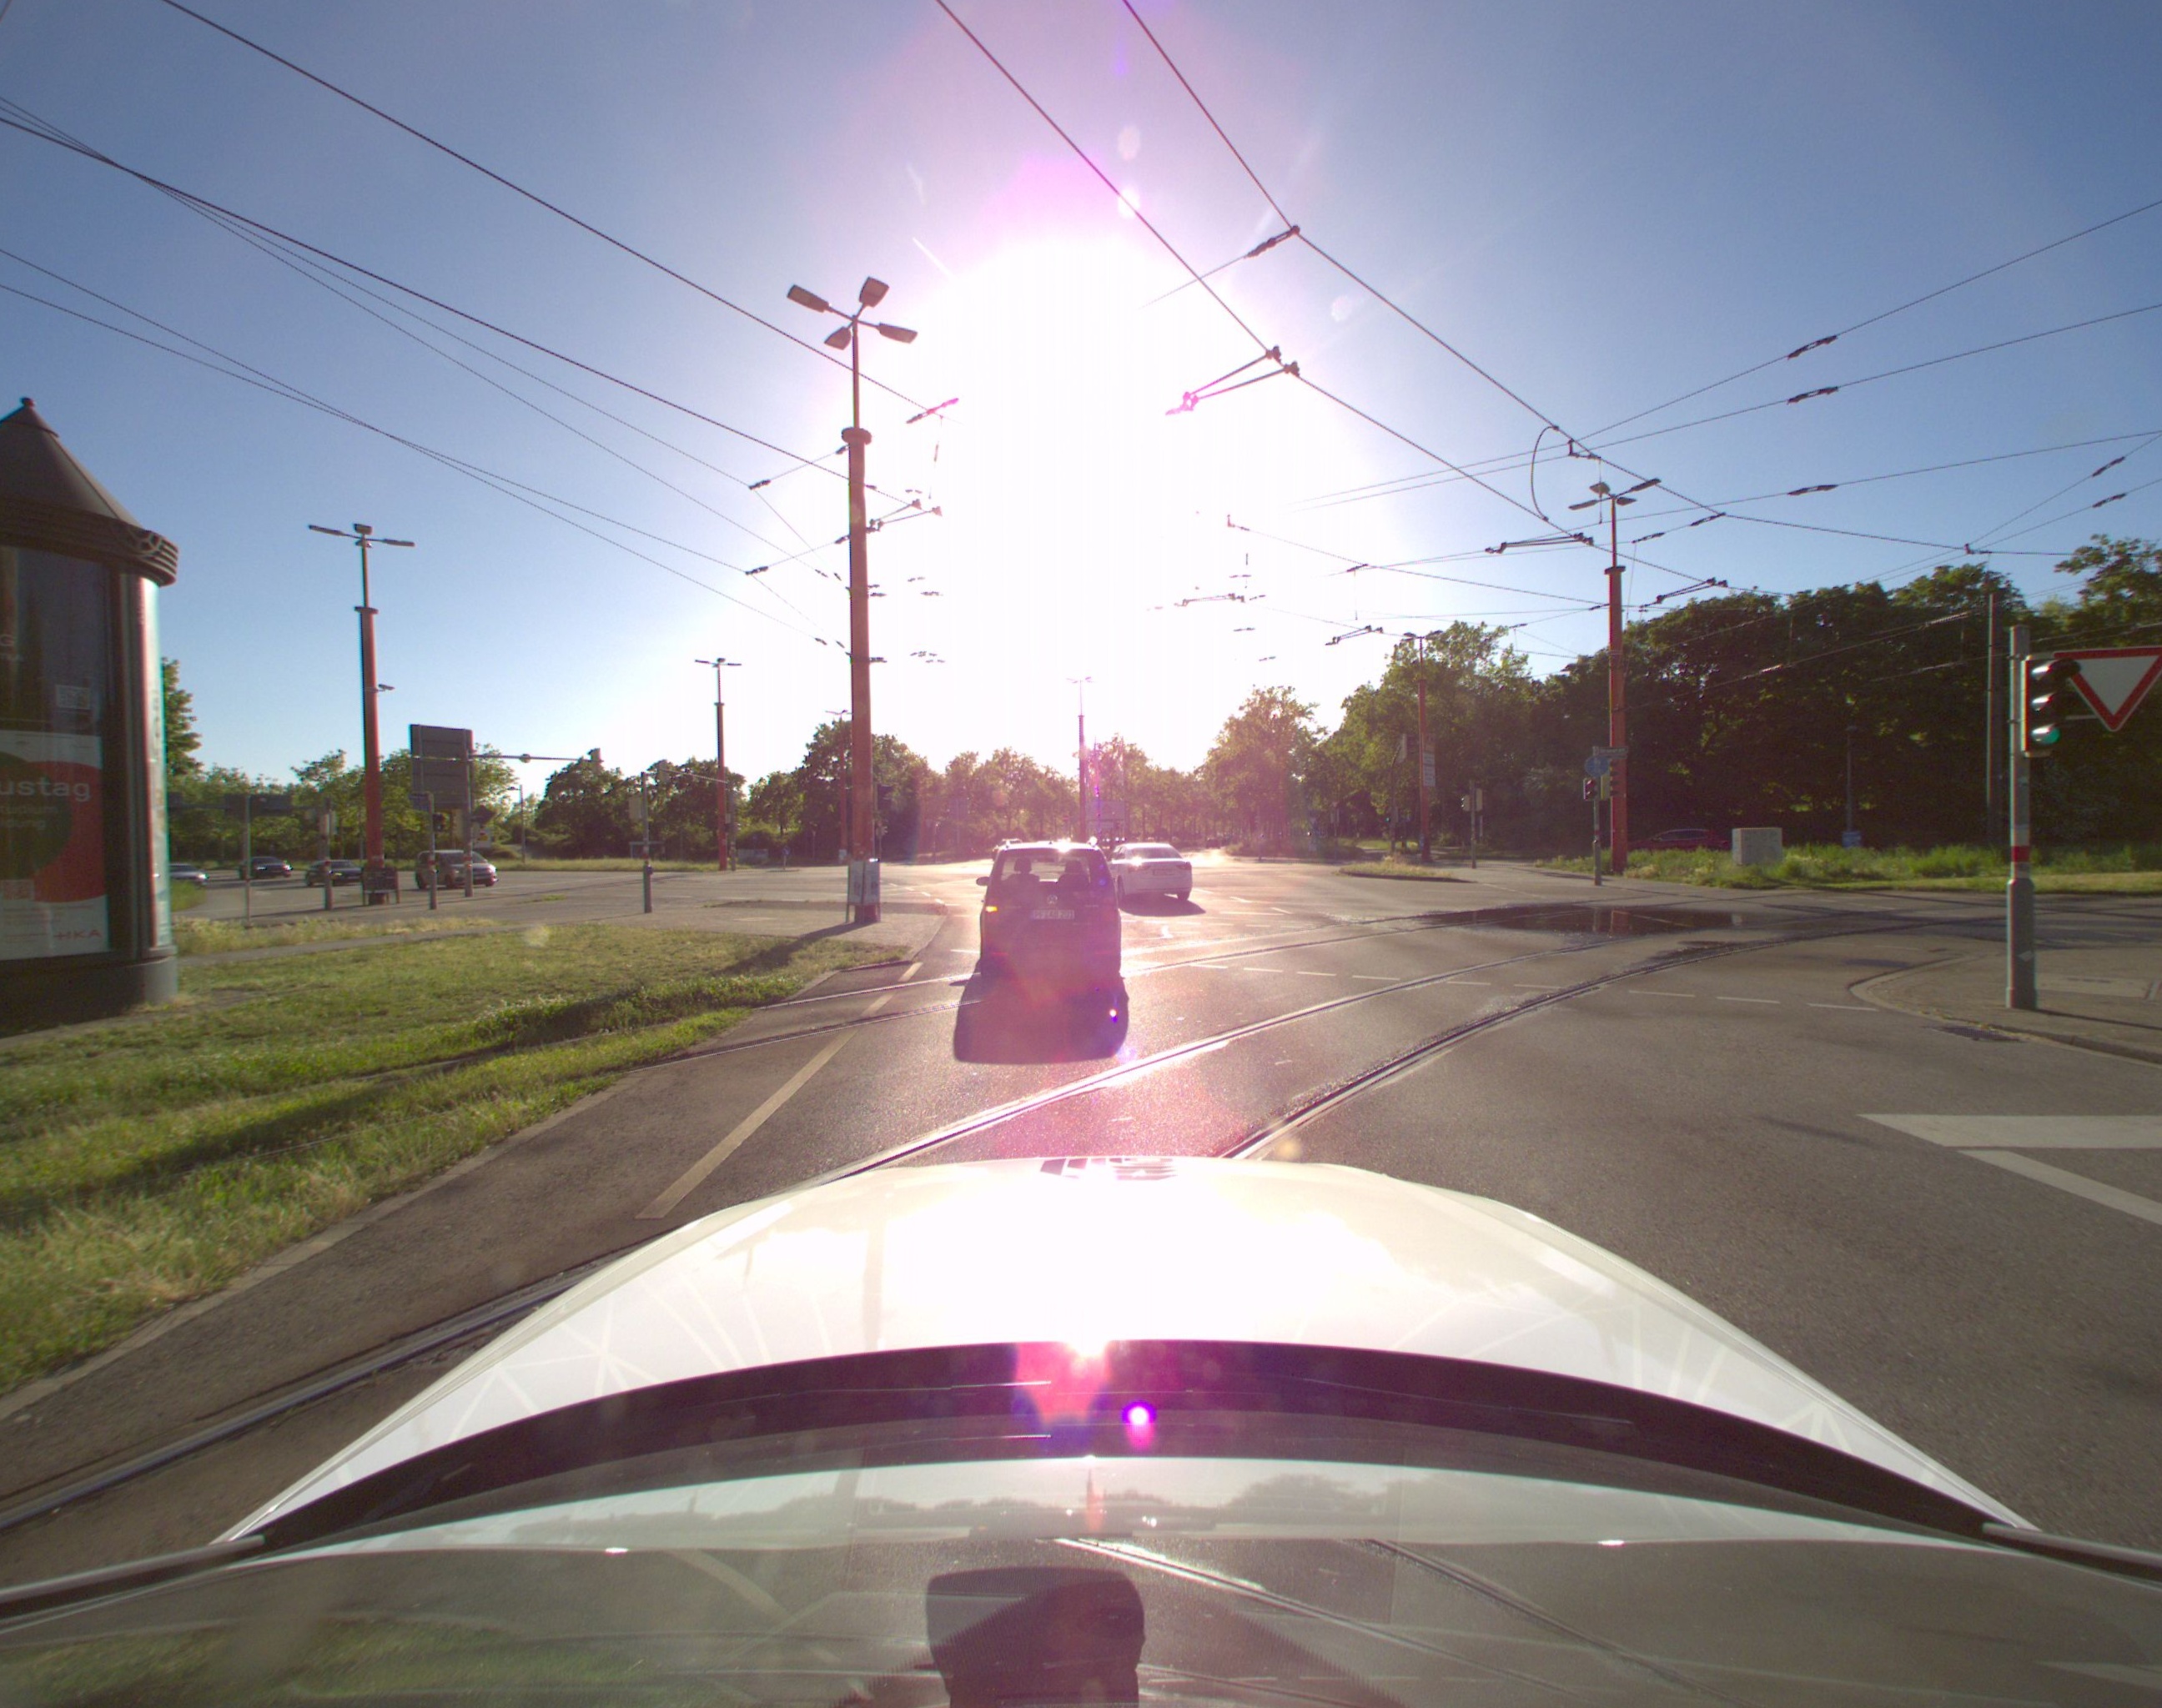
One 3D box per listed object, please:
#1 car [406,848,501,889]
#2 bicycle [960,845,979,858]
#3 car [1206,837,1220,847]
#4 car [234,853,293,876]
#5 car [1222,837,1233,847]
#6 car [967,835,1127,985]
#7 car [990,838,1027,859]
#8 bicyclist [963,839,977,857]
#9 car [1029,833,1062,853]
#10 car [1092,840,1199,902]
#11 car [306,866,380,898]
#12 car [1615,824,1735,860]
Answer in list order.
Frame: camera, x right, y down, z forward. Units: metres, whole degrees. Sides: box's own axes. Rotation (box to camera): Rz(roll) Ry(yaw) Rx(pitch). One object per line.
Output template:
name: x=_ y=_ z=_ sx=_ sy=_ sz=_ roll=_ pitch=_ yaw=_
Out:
car: x=-29.874 y=0.672 z=38.757 sx=4.390 sy=1.774 sz=1.917 roll=-1 pitch=3 yaw=29
bicycle: x=-9.681 y=-0.208 z=71.017 sx=0.757 sy=1.091 sz=2.025 roll=-1 pitch=2 yaw=19
car: x=17.674 y=-1.619 z=108.966 sx=1.778 sy=1.387 sz=4.062 roll=0 pitch=1 yaw=11
car: x=-61.197 y=0.775 z=60.938 sx=4.507 sy=1.610 sz=1.917 roll=-1 pitch=3 yaw=29
car: x=24.944 y=-2.091 z=138.882 sx=1.861 sy=1.627 sz=4.010 roll=0 pitch=0 yaw=9
car: x=-0.446 y=0.579 z=11.565 sx=1.763 sy=1.644 sz=4.920 roll=-1 pitch=1 yaw=-2
car: x=-6.214 y=-0.507 z=70.314 sx=1.889 sy=1.726 sz=4.670 roll=-1 pitch=1 yaw=12
bicyclist: x=-9.666 y=-0.514 z=71.089 sx=0.753 sy=1.557 sz=0.986 roll=-1 pitch=1 yaw=19
car: x=-2.947 y=-0.939 z=67.989 sx=1.756 sy=1.538 sz=4.105 roll=-1 pitch=1 yaw=11
car: x=1.609 y=0.372 z=21.910 sx=1.768 sy=1.464 sz=4.350 roll=-1 pitch=1 yaw=-11
car: x=-39.271 y=1.429 z=43.308 sx=4.506 sy=1.474 sz=1.917 roll=0 pitch=3 yaw=36
car: x=27.079 y=-0.545 z=37.331 sx=4.234 sy=1.495 sz=2.013 roll=-1 pitch=1 yaw=29
